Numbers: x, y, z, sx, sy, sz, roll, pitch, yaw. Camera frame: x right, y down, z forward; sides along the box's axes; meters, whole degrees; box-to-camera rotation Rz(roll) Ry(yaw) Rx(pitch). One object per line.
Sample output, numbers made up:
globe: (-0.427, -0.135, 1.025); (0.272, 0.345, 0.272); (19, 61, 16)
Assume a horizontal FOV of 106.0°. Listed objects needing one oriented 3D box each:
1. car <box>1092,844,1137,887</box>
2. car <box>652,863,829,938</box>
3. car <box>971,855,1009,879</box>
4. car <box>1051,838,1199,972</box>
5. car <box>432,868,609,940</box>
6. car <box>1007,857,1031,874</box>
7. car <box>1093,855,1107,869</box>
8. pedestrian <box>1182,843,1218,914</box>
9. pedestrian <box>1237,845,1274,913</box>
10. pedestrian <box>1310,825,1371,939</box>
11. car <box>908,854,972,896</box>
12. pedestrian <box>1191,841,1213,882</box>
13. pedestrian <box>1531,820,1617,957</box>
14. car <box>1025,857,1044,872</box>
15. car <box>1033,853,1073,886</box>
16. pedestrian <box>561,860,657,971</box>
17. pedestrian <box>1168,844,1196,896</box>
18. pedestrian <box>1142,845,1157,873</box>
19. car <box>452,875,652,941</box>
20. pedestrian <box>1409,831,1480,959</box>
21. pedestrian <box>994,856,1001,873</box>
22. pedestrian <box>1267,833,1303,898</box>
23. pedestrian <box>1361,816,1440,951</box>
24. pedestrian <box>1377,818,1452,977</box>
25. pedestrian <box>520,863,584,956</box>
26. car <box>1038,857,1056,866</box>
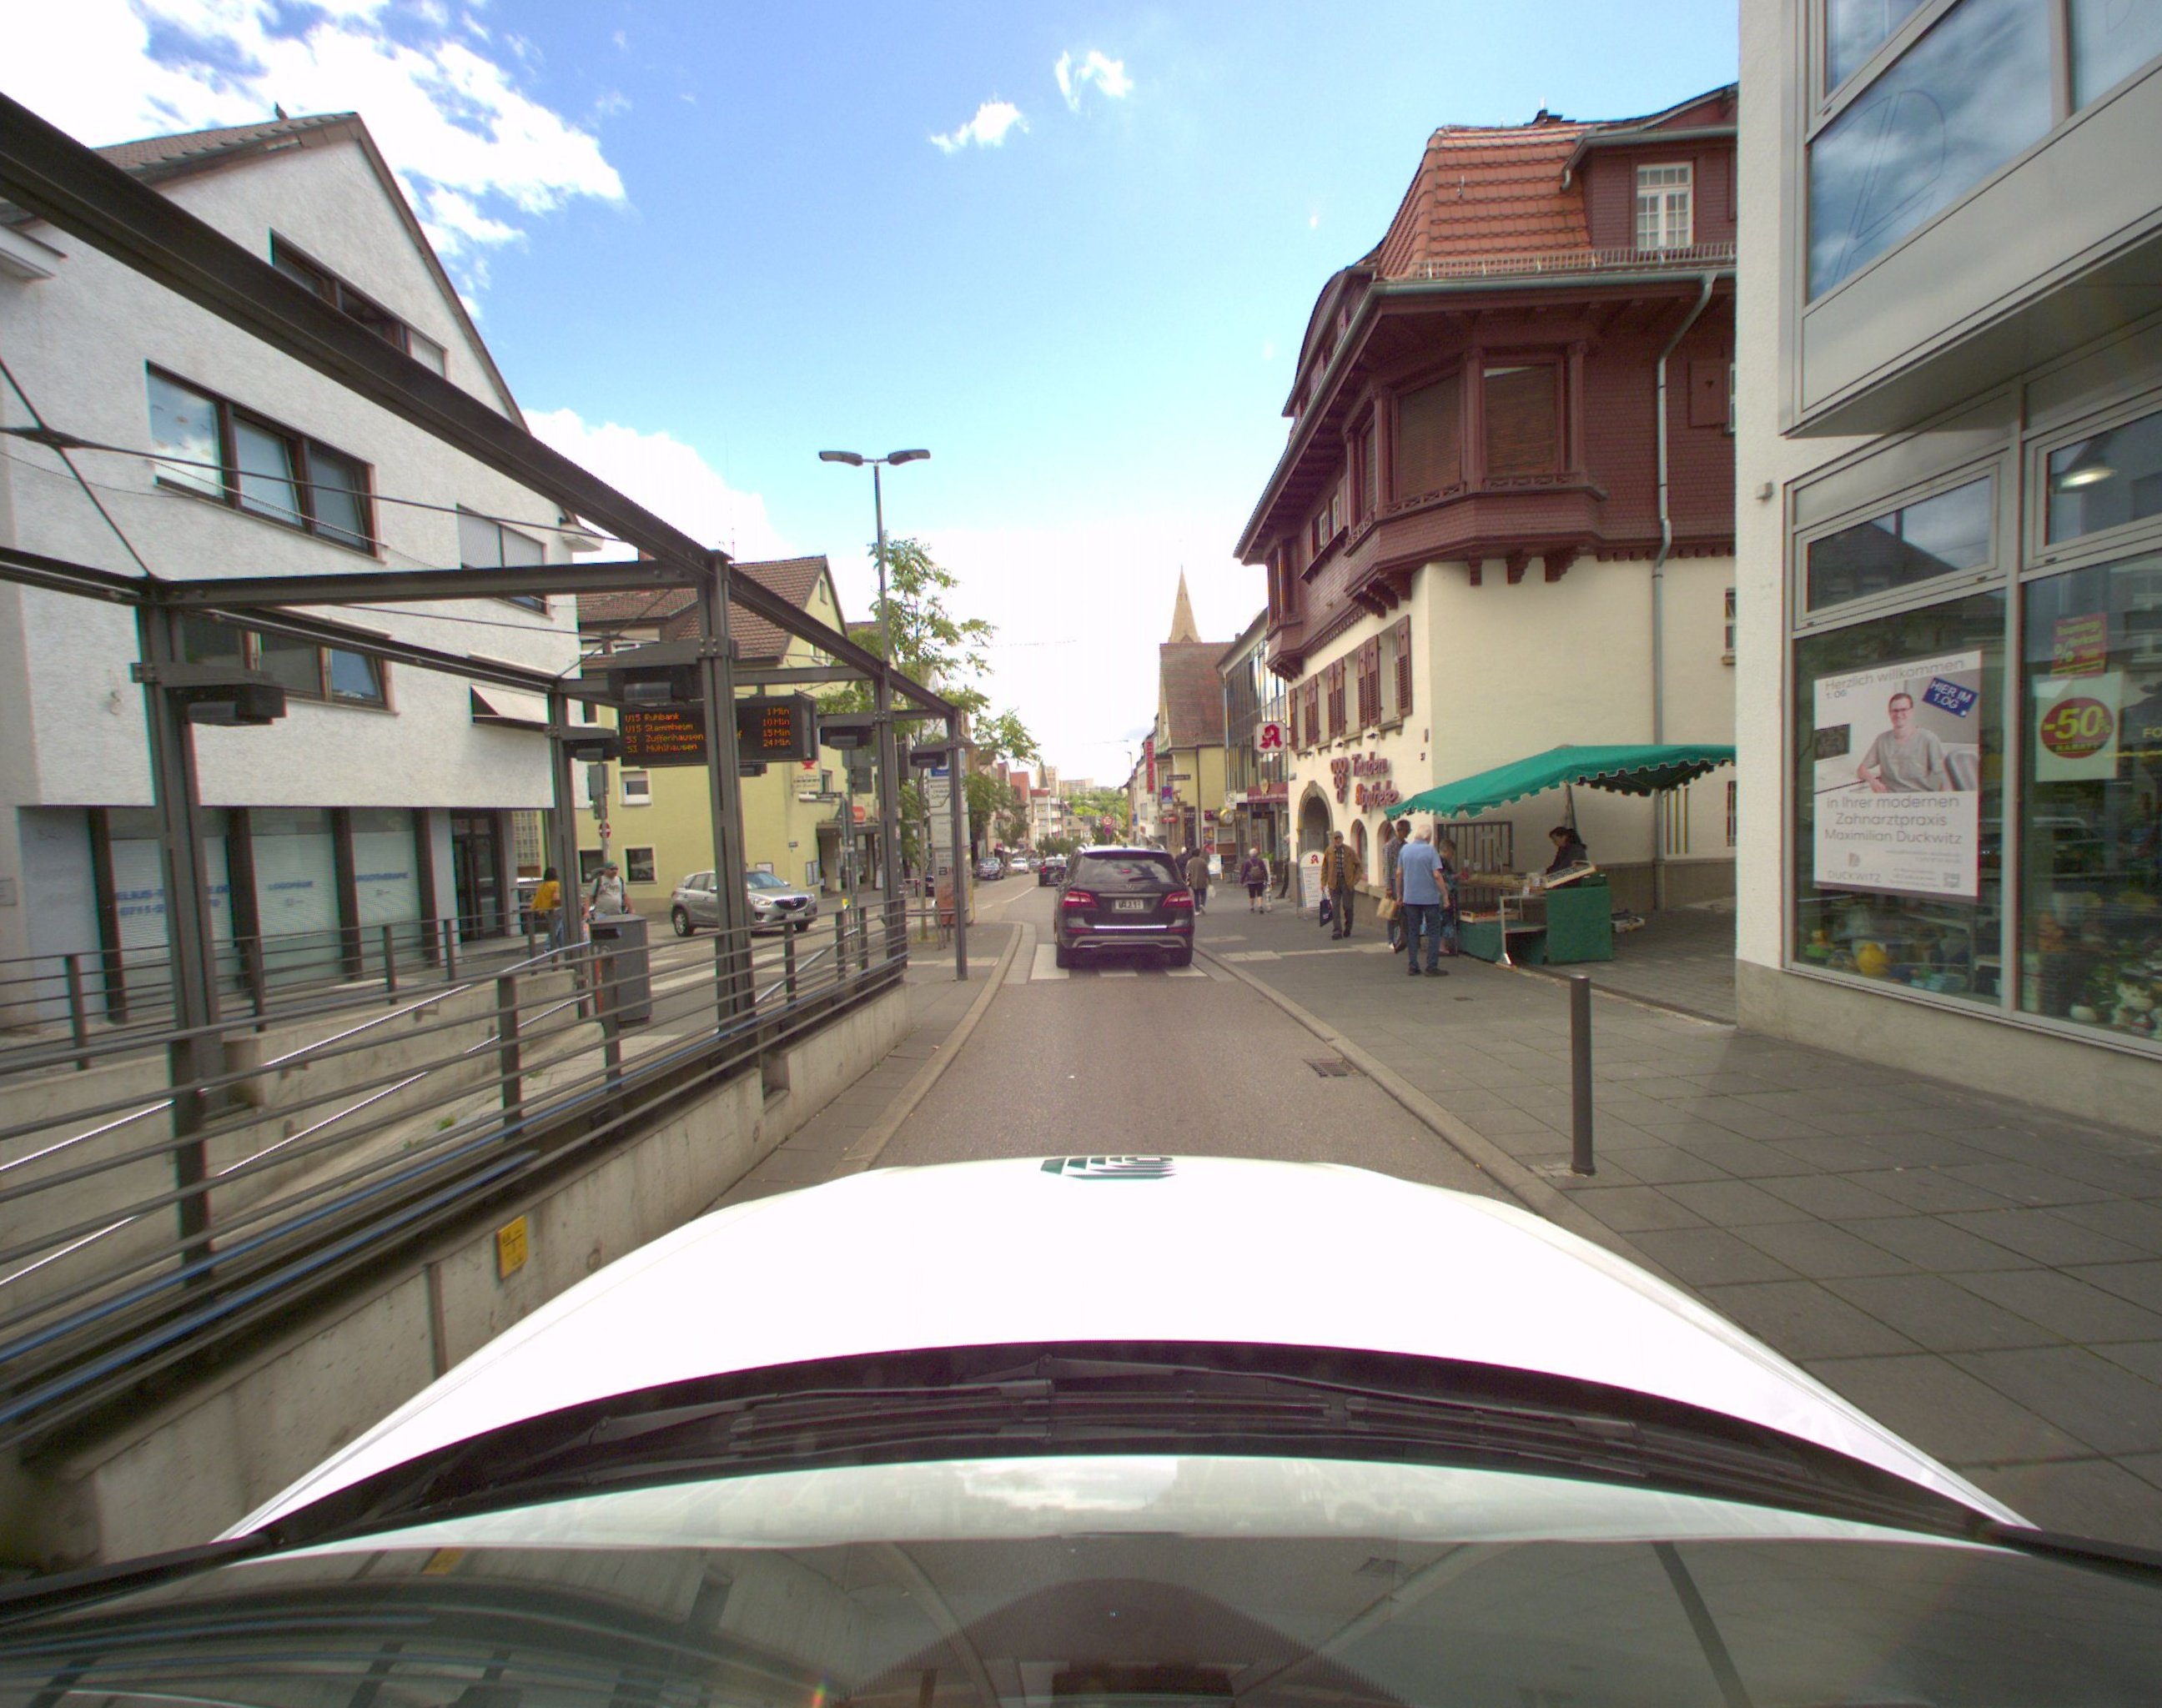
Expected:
car: (1.630, 0.492, 37.794); (1.868, 1.799, 4.738); (-2, 0, 4)
car: (-8.494, 1.119, 20.207); (4.298, 1.621, 1.982); (-2, 0, 34)
car: (-6.002, 0.834, 54.166); (1.920, 1.492, 4.842); (0, 0, 0)
car: (0.539, 0.664, 12.795); (1.938, 1.740, 4.176); (-1, 0, -1)
car: (-18.246, 1.597, 26.632); (4.318, 1.805, 2.004); (-5, 3, 5)
car: (-5.791, 1.073, 76.878); (1.920, 1.511, 4.261); (0, 0, 0)
car: (2.848, 1.176, 121.397); (1.931, 1.891, 4.707); (-4, 0, 0)
pedestrian: (2.860, 0.580, 19.679); (0.768, 1.645, 0.872); (-2, 0, 7)
pedestrian: (4.061, 0.561, 19.046); (0.720, 1.531, 0.809); (-2, 0, 7)
pedestrian: (4.267, 0.456, 13.447); (0.782, 1.801, 0.677); (-2, 0, 7)
car: (-6.248, 0.887, 36.711); (2.000, 1.693, 4.608); (-1, 1, 1)
pedestrian: (5.248, 0.325, 35.263); (0.859, 1.707, 0.947); (-2, 0, 7)
pedestrian: (6.095, 0.413, 10.103); (0.620, 1.612, 0.704); (-2, 0, 6)
car: (-5.305, 1.234, 94.140); (1.920, 1.621, 4.638); (-1, -1, 0)
car: (-1.364, 0.748, 41.120); (1.779, 1.540, 3.745); (-2, 0, 1)
pedestrian: (-8.033, 1.023, 13.900); (0.909, 1.787, 0.992); (-3, 0, 17)
pedestrian: (3.329, 0.529, 26.801); (0.819, 1.666, 0.803); (-2, 0, 7)
pedestrian: (4.323, 0.331, 51.590); (0.793, 1.727, 1.053); (-3, 0, 1)
car: (-14.900, 1.483, 23.112); (4.341, 1.569, 1.916); (-2, 0, 1)
pedestrian: (4.778, 0.525, 10.740); (0.620, 1.612, 0.704); (-2, 0, 6)
pedestrian: (-7.281, 0.930, 71.076); (0.488, 1.463, 0.560); (-2, 0, 10)
pedestrian: (5.709, 0.312, 22.870); (0.771, 1.769, 0.818); (-2, 0, 2)
pedestrian: (4.589, 0.403, 11.706); (0.771, 1.857, 0.707); (-3, 0, 44)
pedestrian: (3.902, 0.492, 9.509); (0.694, 1.767, 0.629); (-2, 0, 27)
pedestrian: (-10.446, 1.077, 16.101); (0.635, 1.738, 0.835); (-4, 0, -1)
car: (-7.961, 1.823, 190.615); (3.978, 1.750, 1.998); (-4, -1, -3)
